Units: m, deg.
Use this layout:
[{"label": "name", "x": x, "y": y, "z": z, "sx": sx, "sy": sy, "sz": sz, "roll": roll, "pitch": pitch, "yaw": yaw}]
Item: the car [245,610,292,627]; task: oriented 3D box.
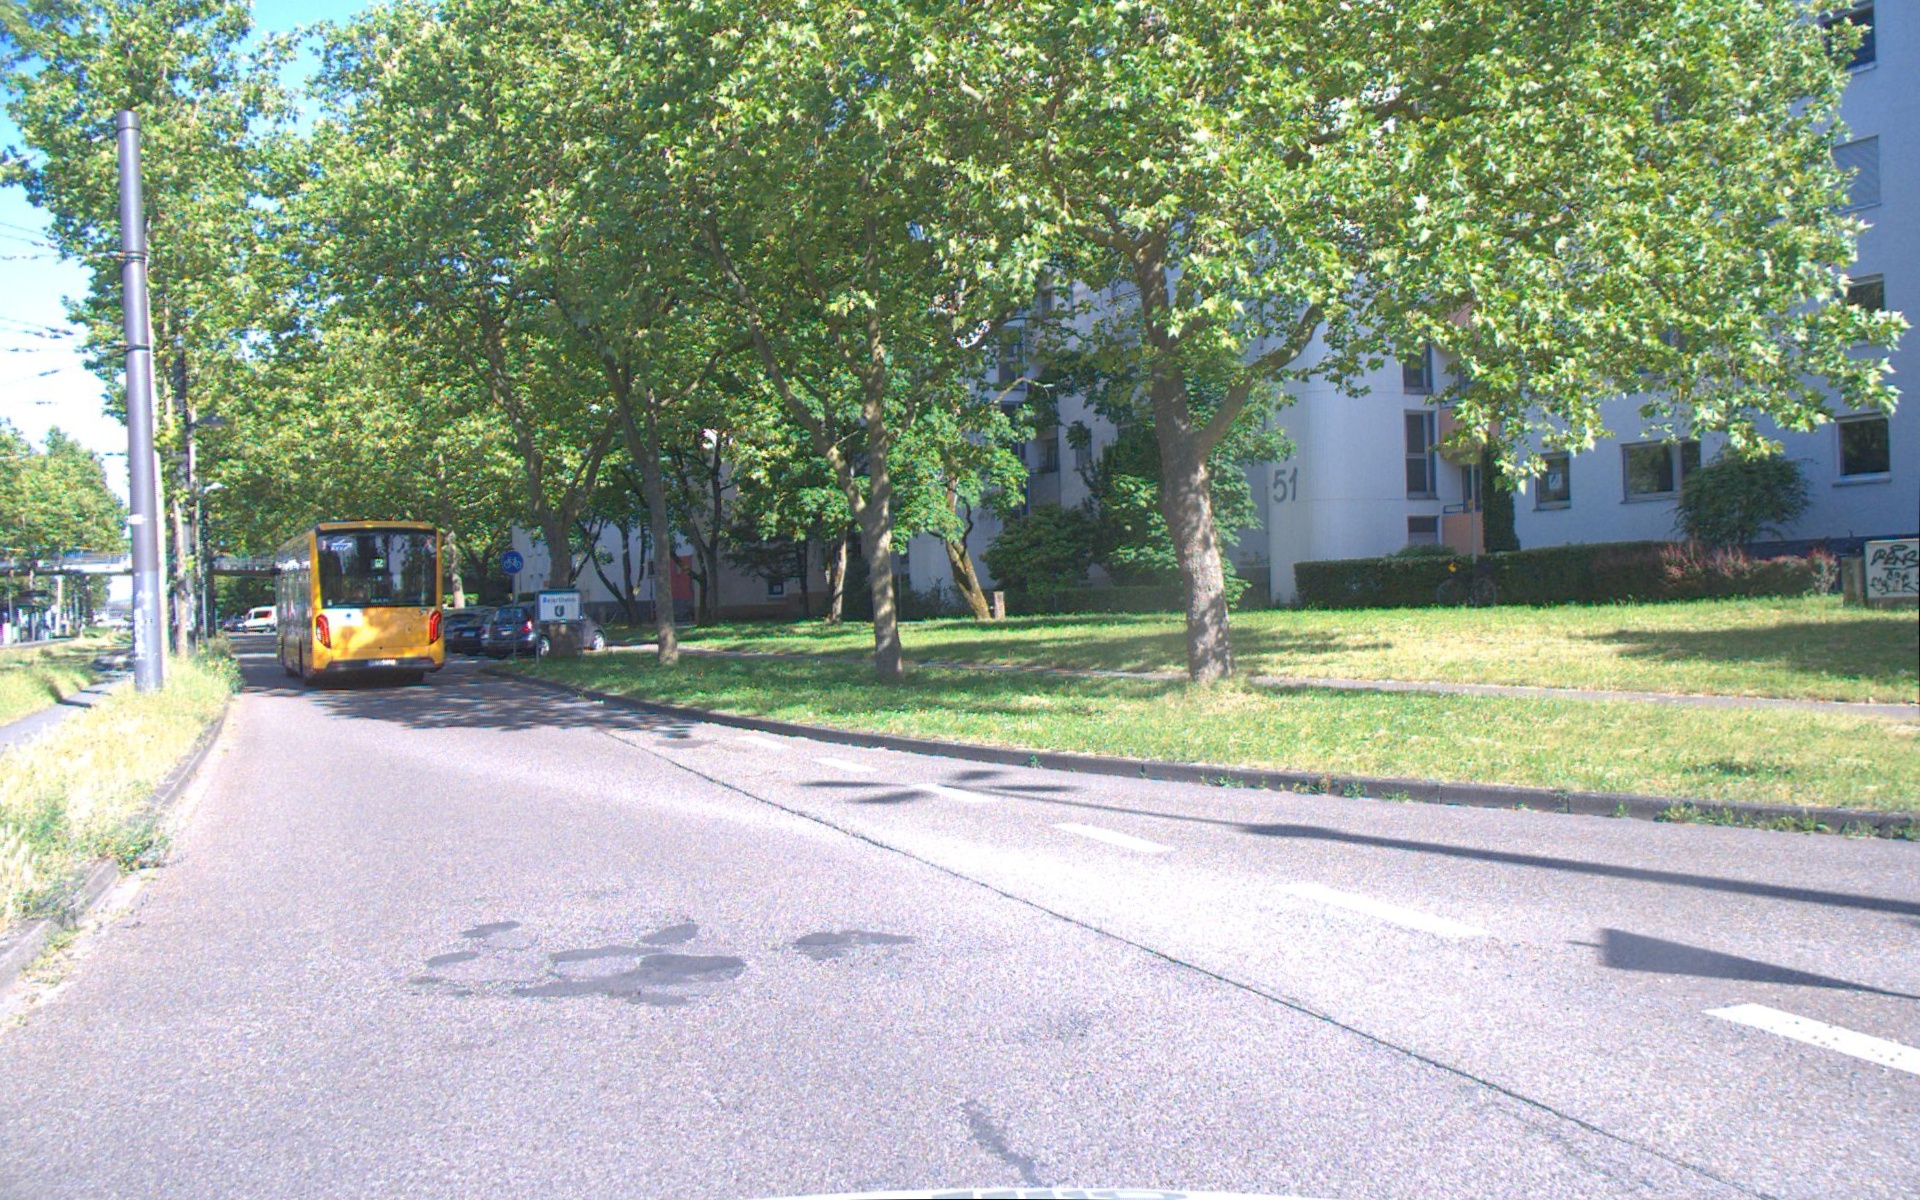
[{"label": "car", "x": -67.631, "y": 1.816, "z": 161.775, "sx": 3.916, "sy": 1.536, "sz": 1.795, "roll": -2, "pitch": 0, "yaw": -12}]

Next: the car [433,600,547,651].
[{"label": "car", "x": -16.274, "y": 0.862, "z": 57.435, "sx": 1.757, "sy": 1.470, "sz": 3.889, "roll": -3, "pitch": 1, "yaw": 22}]

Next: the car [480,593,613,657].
[{"label": "car", "x": -12.060, "y": 0.710, "z": 48.463, "sx": 1.758, "sy": 1.620, "sz": 3.725, "roll": -3, "pitch": 1, "yaw": 24}]

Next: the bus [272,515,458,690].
[{"label": "bus", "x": -13.885, "y": 0.093, "z": 37.837, "sx": 2.863, "sy": 3.324, "sz": 12.119, "roll": -2, "pitch": 0, "yaw": -25}]

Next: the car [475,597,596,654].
[{"label": "car", "x": -13.217, "y": 0.775, "z": 51.706, "sx": 1.758, "sy": 1.517, "sz": 3.583, "roll": -3, "pitch": 1, "yaw": 24}]

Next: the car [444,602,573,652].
[{"label": "car", "x": -14.750, "y": 0.864, "z": 54.217, "sx": 1.758, "sy": 1.340, "sz": 4.145, "roll": -3, "pitch": 1, "yaw": 25}]

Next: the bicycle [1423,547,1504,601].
[{"label": "bicycle", "x": 11.257, "y": -0.574, "z": 37.043, "sx": 0.494, "sy": 1.126, "sz": 1.781, "roll": -8, "pitch": 3, "yaw": -30}]

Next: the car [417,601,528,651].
[{"label": "car", "x": -17.761, "y": 0.911, "z": 60.443, "sx": 1.757, "sy": 1.536, "sz": 4.180, "roll": -3, "pitch": 1, "yaw": 19}]
